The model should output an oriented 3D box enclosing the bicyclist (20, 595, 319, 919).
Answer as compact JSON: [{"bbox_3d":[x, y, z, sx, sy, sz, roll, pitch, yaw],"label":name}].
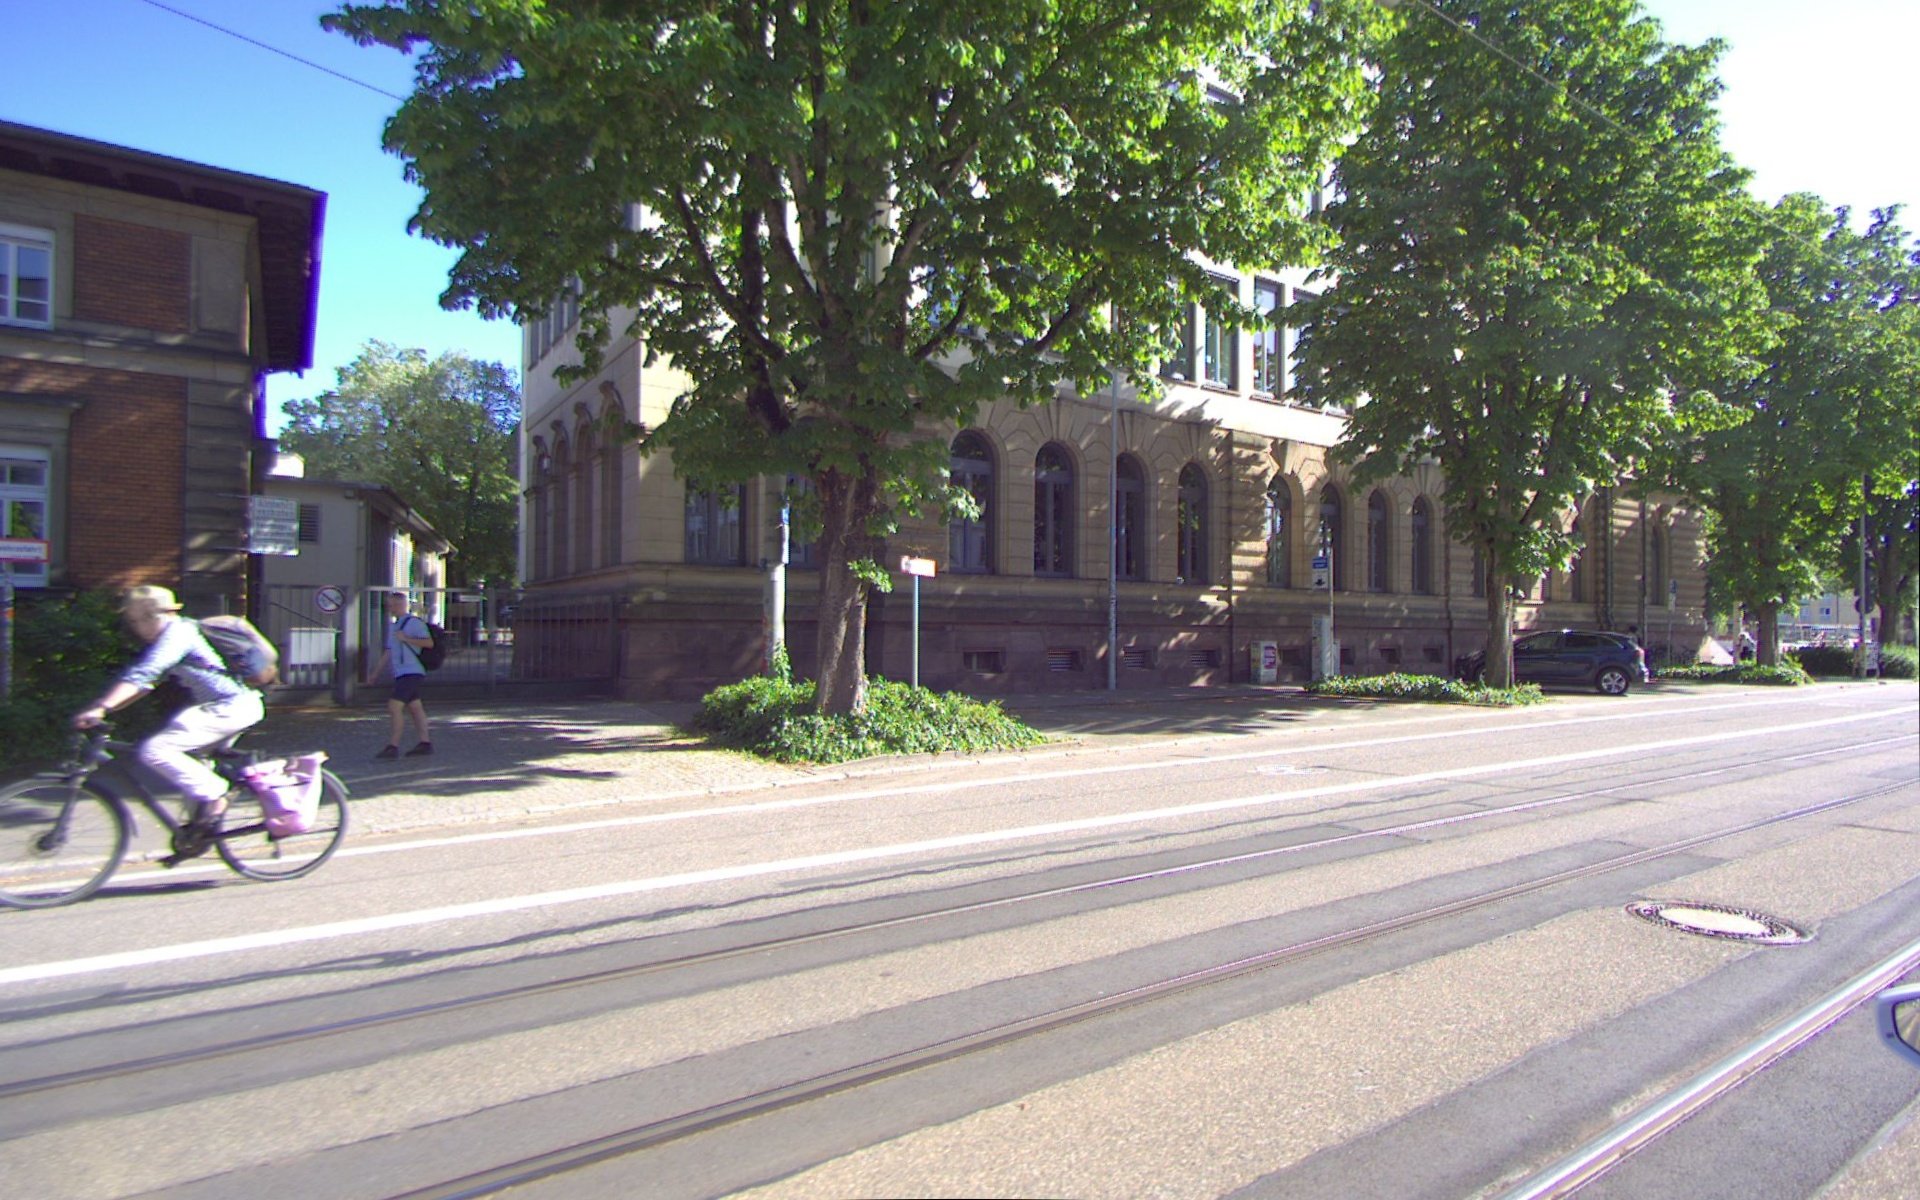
[{"bbox_3d":[-4.466,0.834,5.799,1.223,1.666,0.683,1,-3,-30],"label":"bicyclist"}]

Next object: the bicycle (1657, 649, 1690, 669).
[{"bbox_3d":[27.433,2.275,38.630,1.602,0.734,0.478,2,-2,-33],"label":"bicycle"}]

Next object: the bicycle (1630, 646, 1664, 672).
[{"bbox_3d":[25.385,2.168,37.124,1.602,0.929,0.478,2,-2,-33],"label":"bicycle"}]

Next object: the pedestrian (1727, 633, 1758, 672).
[{"bbox_3d":[31.295,2.078,40.186,0.908,1.524,0.703,-1,-1,34],"label":"pedestrian"}]

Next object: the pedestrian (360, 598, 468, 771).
[{"bbox_3d":[-6.084,0.901,11.203,0.719,1.821,0.778,3,1,33],"label":"pedestrian"}]

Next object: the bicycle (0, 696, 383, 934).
[{"bbox_3d":[-4.442,1.164,5.793,1.909,1.139,0.683,1,-3,-30],"label":"bicycle"}]

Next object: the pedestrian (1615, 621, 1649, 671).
[{"bbox_3d":[22.914,1.544,34.240,0.751,1.657,0.696,1,1,-34],"label":"pedestrian"}]

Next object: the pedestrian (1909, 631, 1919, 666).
[{"bbox_3d":[47.942,2.434,50.203,0.672,1.719,0.615,1,-1,-34],"label":"pedestrian"}]

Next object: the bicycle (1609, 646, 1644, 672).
[{"bbox_3d":[23.974,2.115,36.125,1.602,0.929,0.478,2,-2,-33],"label":"bicycle"}]

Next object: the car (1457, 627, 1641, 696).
[{"bbox_3d":[15.002,1.511,25.806,3.928,1.570,1.874,1,-1,29],"label":"car"}]
